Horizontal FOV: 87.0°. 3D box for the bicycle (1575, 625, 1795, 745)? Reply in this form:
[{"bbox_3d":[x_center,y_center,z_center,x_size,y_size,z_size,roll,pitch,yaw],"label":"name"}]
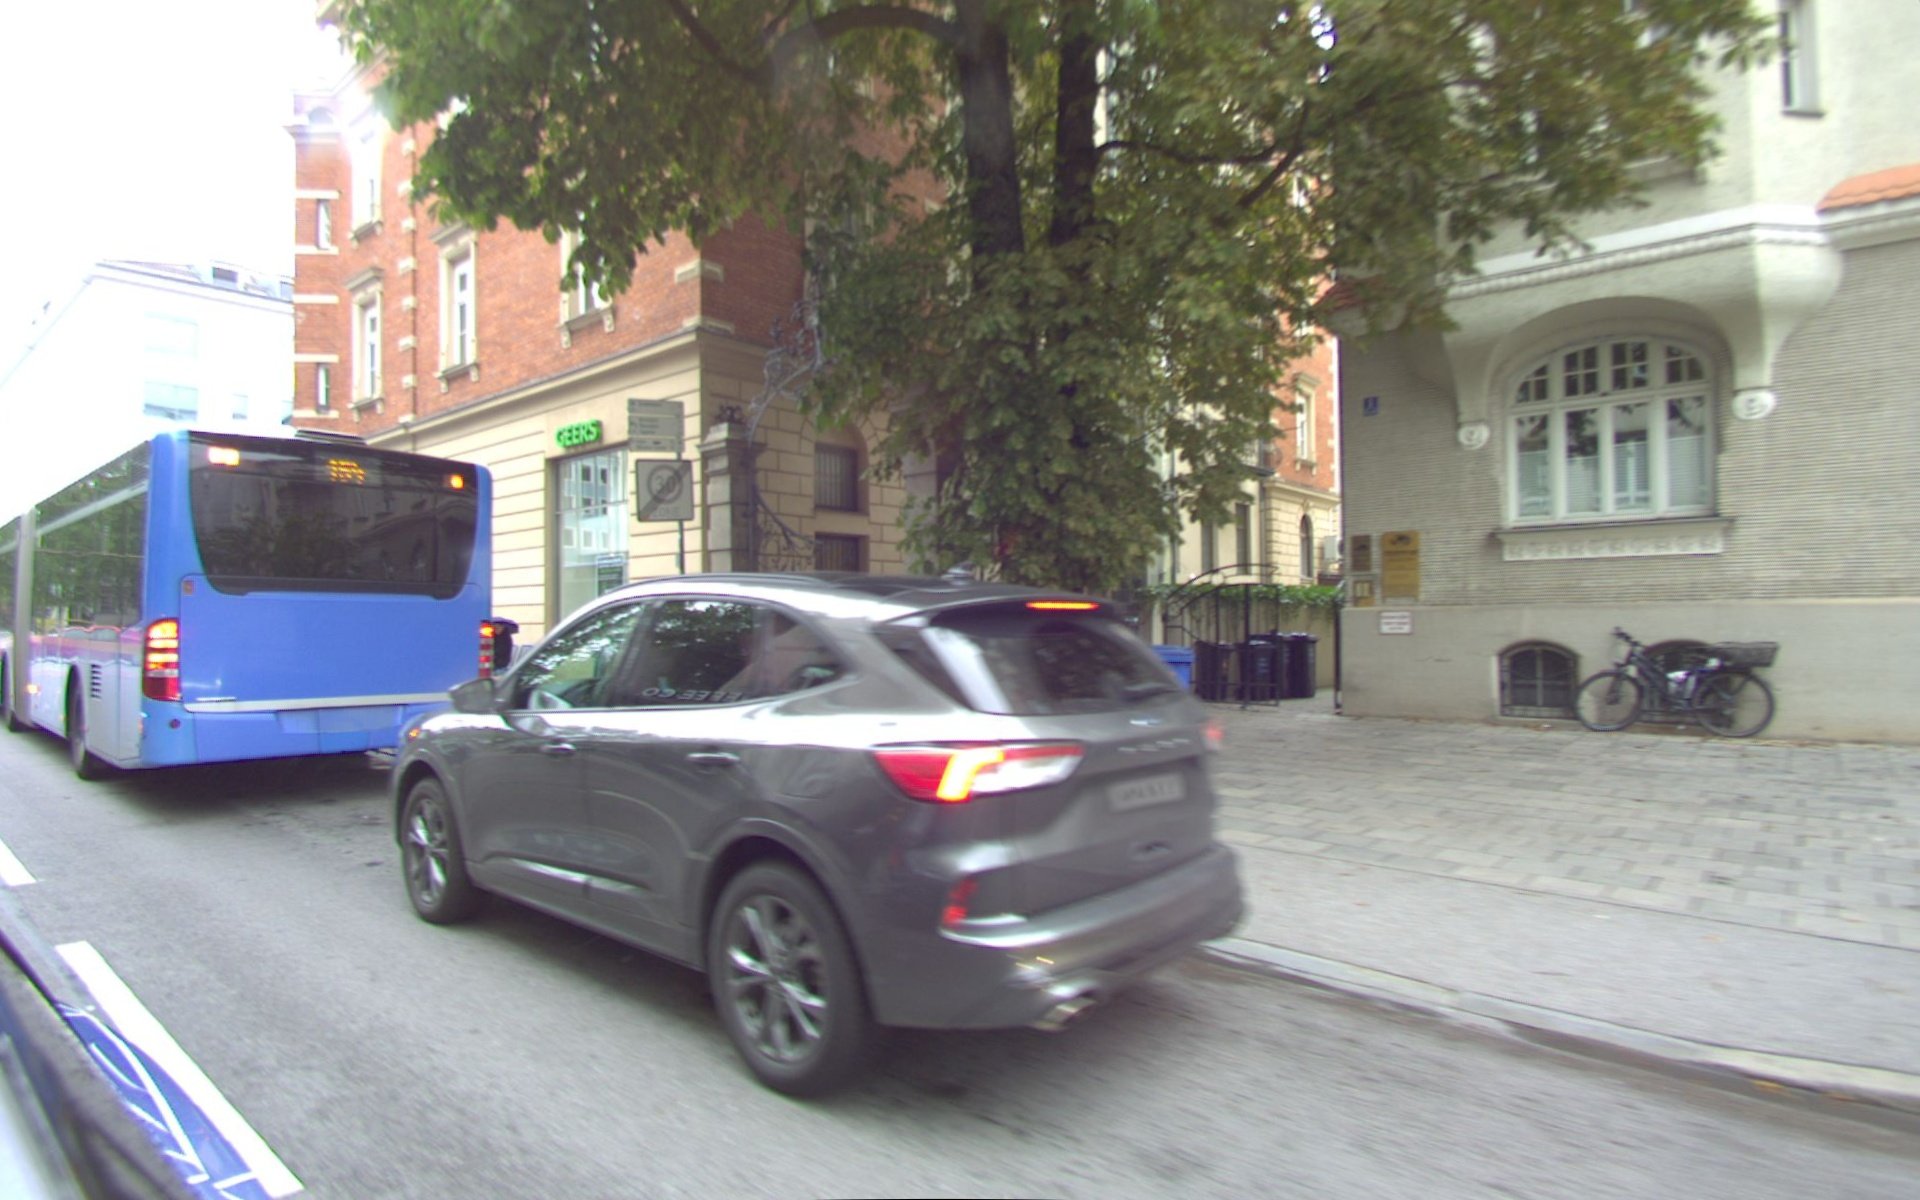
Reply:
[{"bbox_3d":[7.609,0.850,10.679,1.833,1.172,0.611,-1,-2,40],"label":"bicycle"}]

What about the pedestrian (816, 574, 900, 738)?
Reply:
[{"bbox_3d":[-1.157,0.607,11.371,0.773,1.758,0.878,0,-1,-17],"label":"pedestrian"}]

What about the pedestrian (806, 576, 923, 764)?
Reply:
[{"bbox_3d":[-0.943,0.664,10.023,0.786,1.758,0.864,-1,-2,41],"label":"pedestrian"}]

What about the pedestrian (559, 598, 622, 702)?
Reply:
[{"bbox_3d":[-5.700,0.754,15.608,0.753,1.550,0.618,-1,-2,39],"label":"pedestrian"}]

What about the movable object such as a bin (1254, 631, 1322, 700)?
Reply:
[{"bbox_3d":[5.418,1.062,16.715,0.722,1.094,0.814,0,-1,-45],"label":"movable object such as a bin"}]

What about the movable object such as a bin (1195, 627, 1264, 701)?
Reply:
[{"bbox_3d":[4.158,0.969,15.633,0.614,1.094,0.814,0,-1,-45],"label":"movable object such as a bin"}]

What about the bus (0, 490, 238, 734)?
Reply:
[{"bbox_3d":[-14.837,0.268,16.956,9.105,3.124,2.552,-2,-2,42],"label":"bus"}]

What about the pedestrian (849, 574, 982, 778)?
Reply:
[{"bbox_3d":[-0.404,0.666,9.331,0.846,1.758,0.898,-1,-2,41],"label":"pedestrian"}]

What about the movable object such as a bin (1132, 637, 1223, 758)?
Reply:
[{"bbox_3d":[2.118,0.915,9.827,0.622,1.094,0.804,-1,-1,32],"label":"movable object such as a bin"}]

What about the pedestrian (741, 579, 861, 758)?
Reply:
[{"bbox_3d":[-1.658,0.683,10.555,0.910,1.758,0.864,-1,-2,41],"label":"pedestrian"}]

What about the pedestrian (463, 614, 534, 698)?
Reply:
[{"bbox_3d":[-7.683,0.923,16.859,0.753,1.351,0.820,-1,-2,39],"label":"pedestrian"}]

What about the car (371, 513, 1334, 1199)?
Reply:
[{"bbox_3d":[-0.825,0.683,4.420,4.271,1.657,1.749,-1,-2,41],"label":"car"}]

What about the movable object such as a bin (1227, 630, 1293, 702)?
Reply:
[{"bbox_3d":[4.814,1.043,16.239,0.614,1.094,0.814,0,-1,-45],"label":"movable object such as a bin"}]

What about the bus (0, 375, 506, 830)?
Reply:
[{"bbox_3d":[-8.143,0.116,10.903,8.920,3.124,2.552,-2,-2,42],"label":"bus"}]
